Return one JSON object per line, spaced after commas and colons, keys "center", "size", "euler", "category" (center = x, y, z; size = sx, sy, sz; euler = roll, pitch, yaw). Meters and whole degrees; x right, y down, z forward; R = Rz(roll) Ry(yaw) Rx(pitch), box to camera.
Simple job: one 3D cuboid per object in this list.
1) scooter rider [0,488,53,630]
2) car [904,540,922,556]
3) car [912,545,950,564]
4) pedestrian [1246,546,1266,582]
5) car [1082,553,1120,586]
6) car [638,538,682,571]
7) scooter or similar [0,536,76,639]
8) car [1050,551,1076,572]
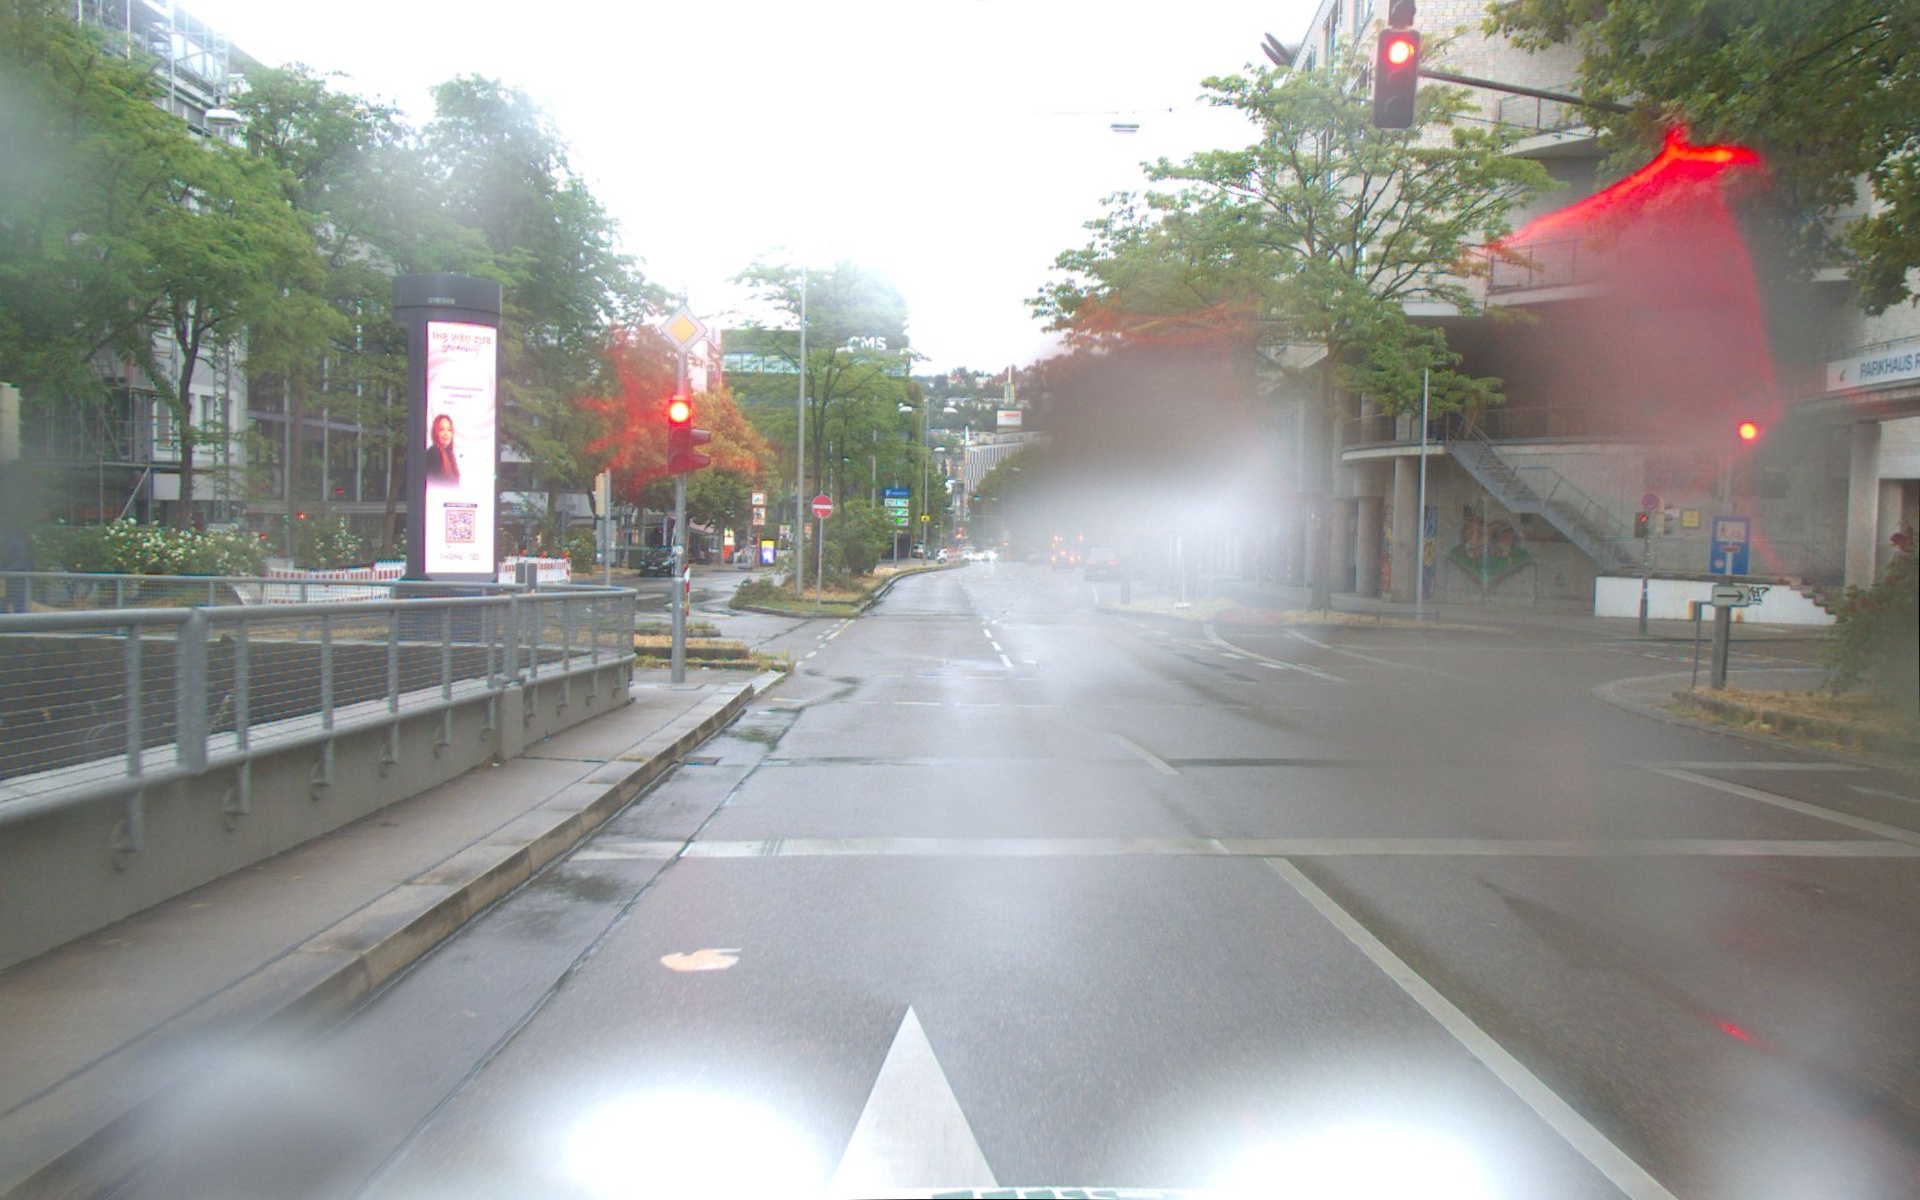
{"center": [-13.497, -0.582, 23.490], "size": [0.796, 1.982, 0.818], "euler": [2, 1, 39], "category": "scooter rider"}
{"center": [-6.540, -7.226, 229.739], "size": [2.084, 2.202, 5.199], "euler": [2, 1, 2], "category": "car"}
{"center": [-3.244, -5.085, 185.265], "size": [3.978, 1.938, 1.951], "euler": [1, 1, -7], "category": "car"}
{"center": [13.222, -1.607, 73.840], "size": [0.769, 1.584, 0.533], "euler": [2, 1, 4], "category": "pedestrian"}
{"center": [7.607, -1.665, 89.424], "size": [1.861, 1.713, 3.913], "euler": [2, 1, 3], "category": "car"}
{"center": [-16.089, -2.470, 88.842], "size": [1.744, 1.582, 3.894], "euler": [2, 3, -1], "category": "car"}
{"center": [-13.621, -0.185, 23.357], "size": [0.537, 1.443, 1.946], "euler": [2, 1, 38], "category": "scooter or similar"}
{"center": [8.061, -3.005, 129.940], "size": [1.710, 1.545, 4.106], "euler": [2, 1, -1], "category": "car"}
